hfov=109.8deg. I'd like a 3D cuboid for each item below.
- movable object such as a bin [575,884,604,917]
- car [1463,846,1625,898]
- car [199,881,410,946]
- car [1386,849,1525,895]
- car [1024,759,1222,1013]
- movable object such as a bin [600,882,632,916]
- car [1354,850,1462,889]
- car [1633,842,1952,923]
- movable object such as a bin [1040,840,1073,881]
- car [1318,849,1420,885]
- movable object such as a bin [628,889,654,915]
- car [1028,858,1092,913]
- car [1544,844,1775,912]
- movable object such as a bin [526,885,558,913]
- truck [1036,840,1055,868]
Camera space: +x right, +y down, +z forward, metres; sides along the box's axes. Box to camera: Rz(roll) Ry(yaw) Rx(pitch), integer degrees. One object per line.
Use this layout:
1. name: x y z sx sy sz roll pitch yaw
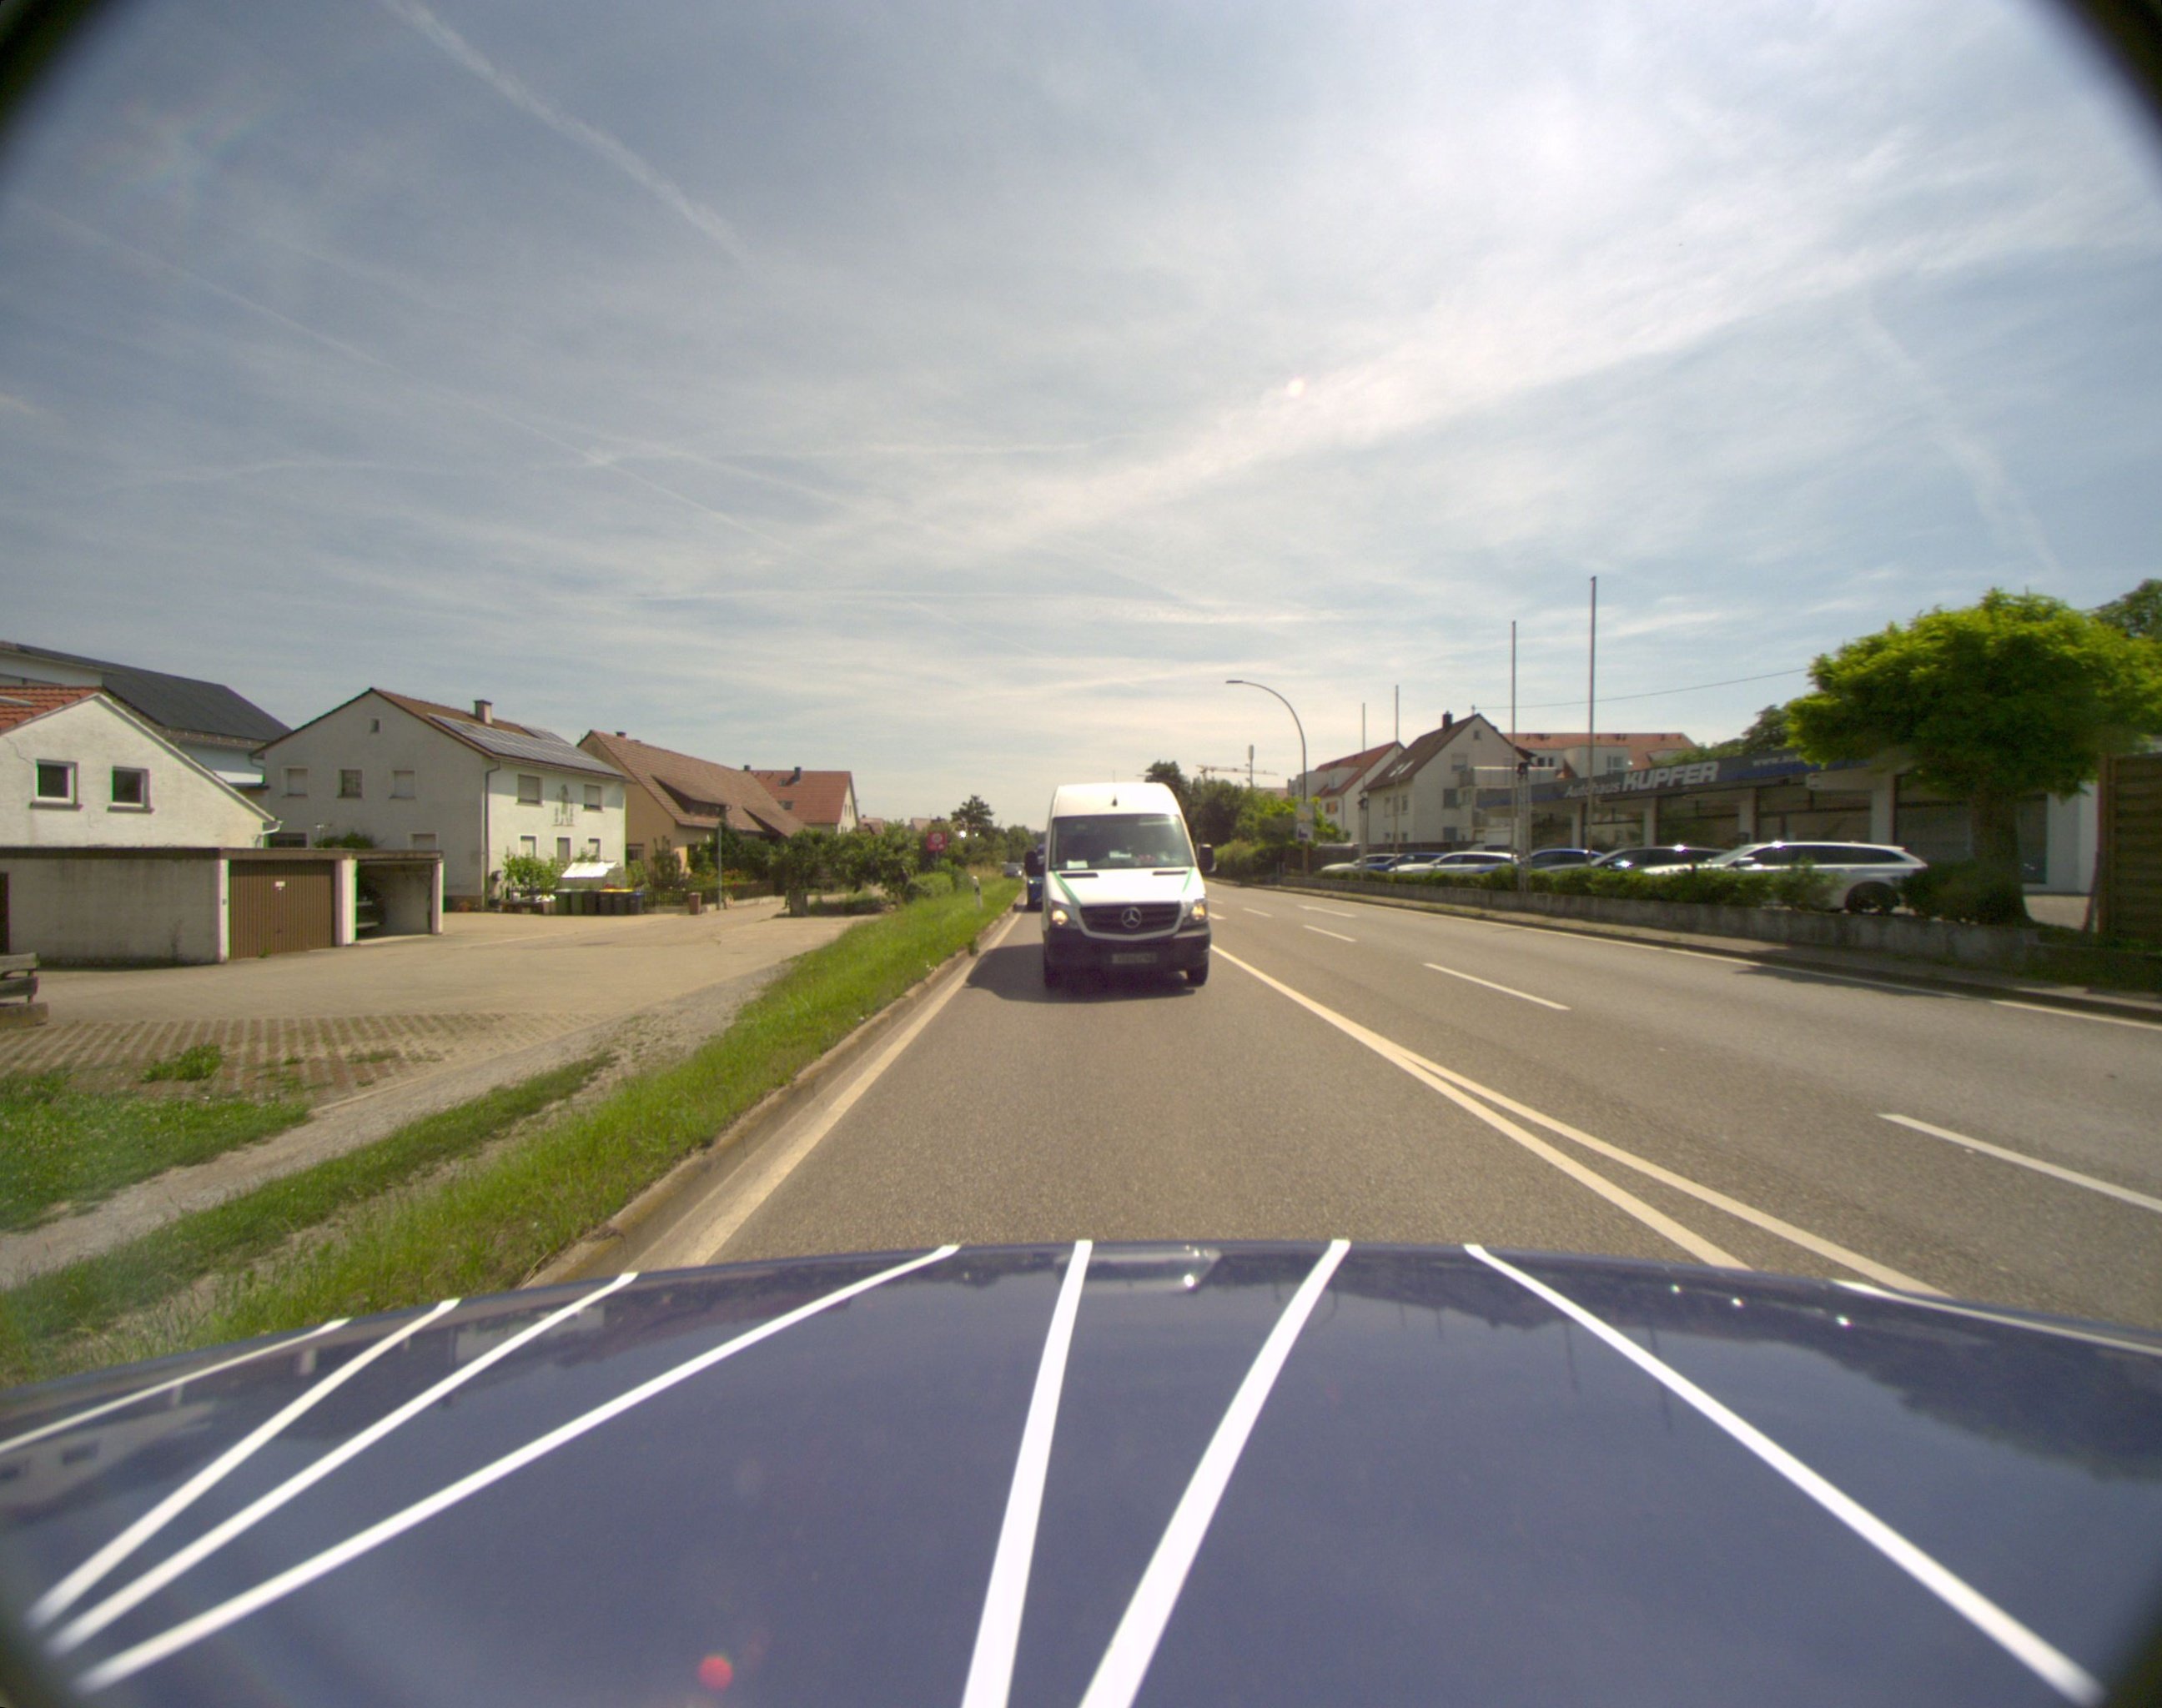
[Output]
1. movable object such as a bin: -21.221 2.005 32.806 0.678 1.330 0.820 -2 0 -1
2. car: 13.897 0.558 23.095 3.990 1.433 1.857 -2 0 25
3. car: -21.572 1.631 21.243 3.997 1.594 1.826 -1 0 0
4. car: 13.463 0.652 27.458 4.303 1.510 2.003 -2 0 27
5. car: 0.406 0.345 10.733 1.978 2.583 5.633 -2 0 -1
6. movable object such as a bin: -19.881 1.922 32.508 0.765 1.362 0.946 -2 0 -1
7. car: 13.673 0.646 31.750 3.990 1.455 2.003 -2 0 26
8. car: 14.038 0.559 15.375 4.329 1.451 1.858 -2 0 24
9. movable object such as a bin: -1.647 0.439 53.510 1.998 2.710 5.419 -2 0 1
10. car: 13.550 0.600 35.720 4.255 1.521 2.003 -2 0 26
11. movable object such as a bin: -18.874 2.054 32.601 0.645 1.021 0.756 -2 0 -1
12. car: -0.647 0.928 23.970 1.824 1.574 3.901 -1 0 -1
13. car: 14.257 0.602 19.059 4.251 1.536 1.853 -2 0 23
14. movable object such as a bin: -23.081 1.912 32.519 0.740 1.149 0.830 -2 0 -1
15. truck: -5.020 0.045 108.087 2.506 3.847 5.497 -2 0 -1
